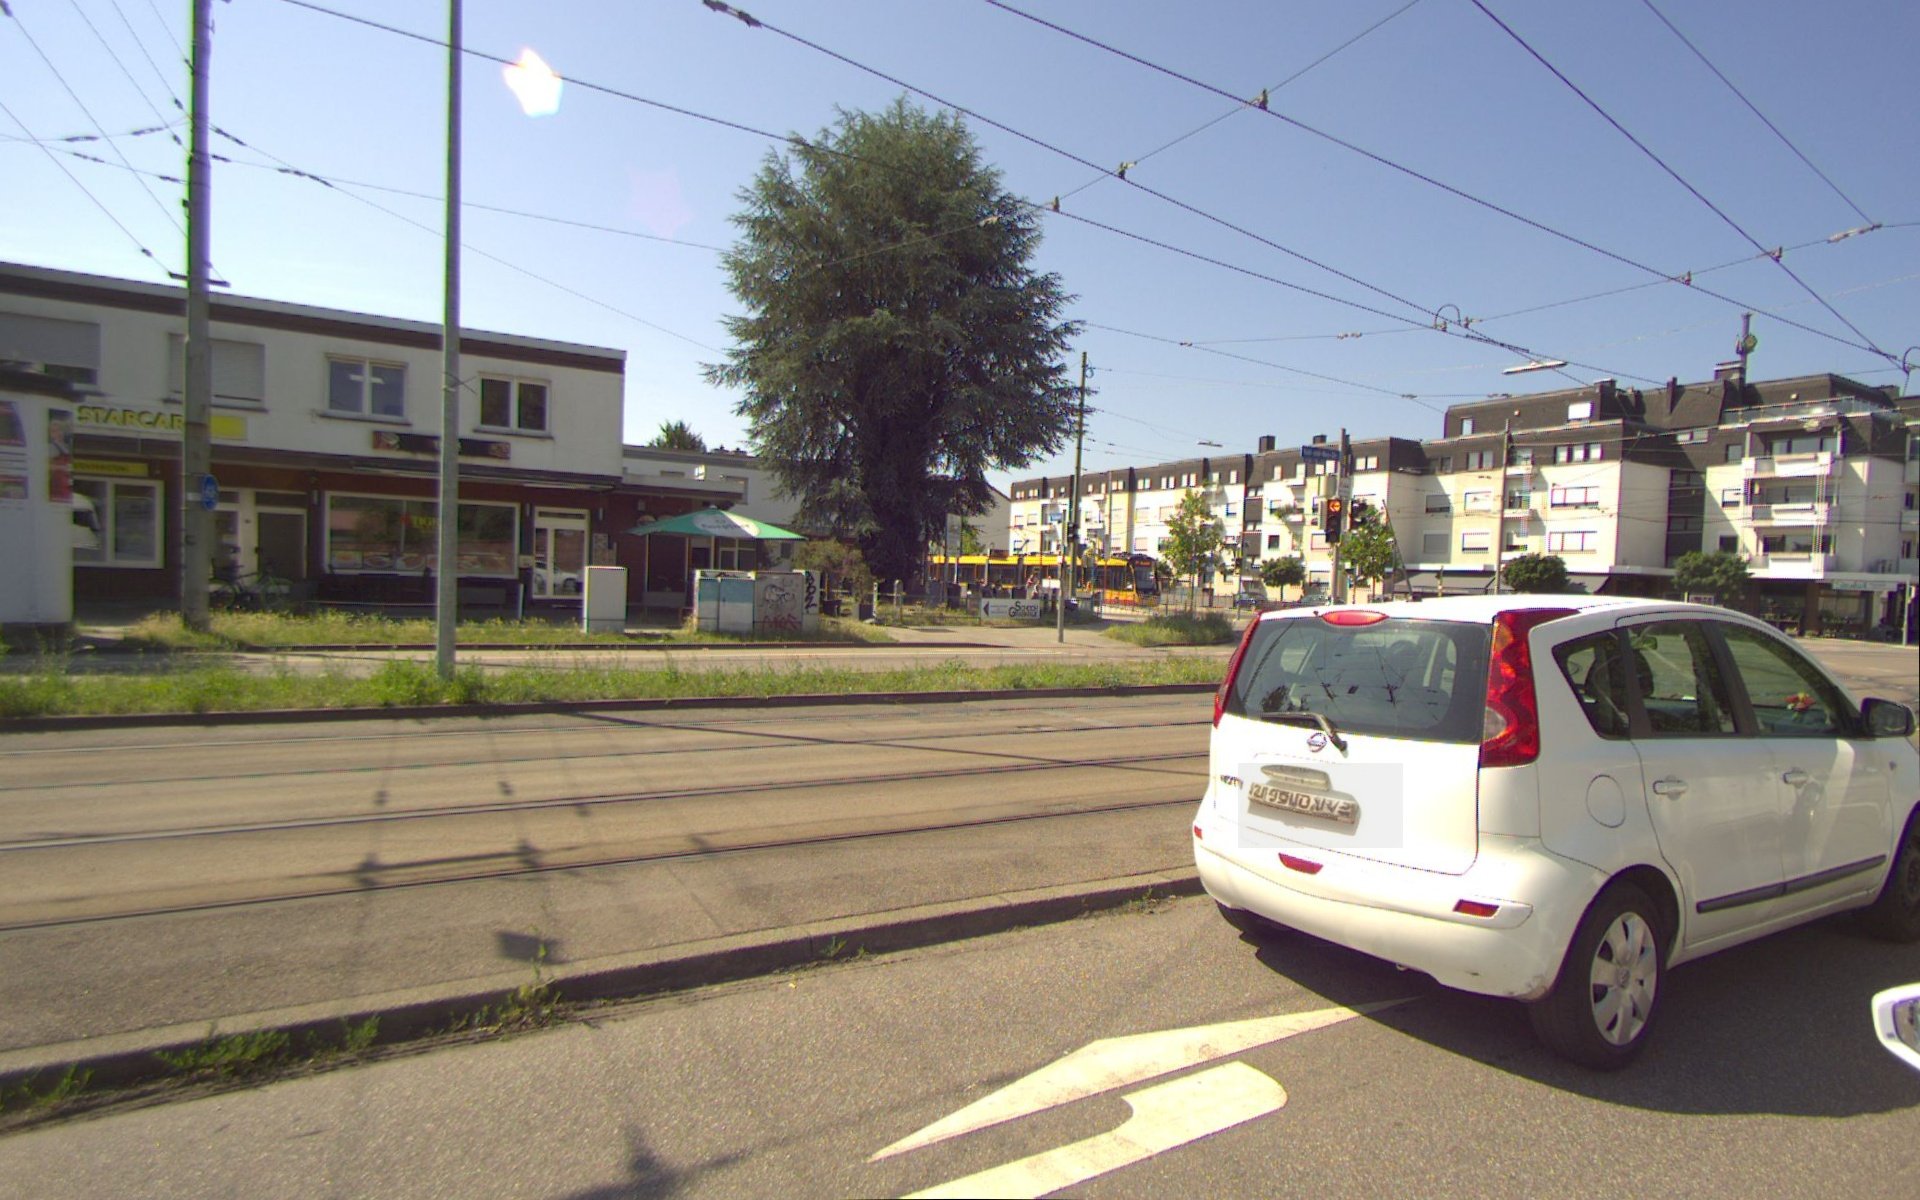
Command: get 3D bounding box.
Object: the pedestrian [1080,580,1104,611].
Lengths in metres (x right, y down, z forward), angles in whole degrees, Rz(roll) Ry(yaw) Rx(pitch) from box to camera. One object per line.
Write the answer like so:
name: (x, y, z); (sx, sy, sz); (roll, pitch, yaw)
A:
pedestrian: (8.220, -0.295, 62.456); (0.886, 1.862, 1.192); (1, 1, -30)

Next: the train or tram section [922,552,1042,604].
train or tram section: (1.420, -1.843, 79.826); (2.736, 3.707, 13.795); (1, 1, -30)

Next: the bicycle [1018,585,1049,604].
bicycle: (3.958, -0.306, 54.445); (0.530, 0.959, 2.117); (1, 1, -32)

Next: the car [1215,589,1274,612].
car: (20.629, 0.018, 72.951); (1.807, 1.520, 3.967); (1, 1, -30)

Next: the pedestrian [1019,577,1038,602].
pedestrian: (4.752, -0.721, 69.273); (0.804, 1.703, 1.085); (1, 1, -30)

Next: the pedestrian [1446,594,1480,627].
pedestrian: (28.932, 0.591, 57.774); (1.410, 1.861, 1.123); (2, 1, 9)

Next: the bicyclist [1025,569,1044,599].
bicyclist: (4.019, -0.845, 54.249); (0.625, 1.579, 0.758); (2, 0, -35)

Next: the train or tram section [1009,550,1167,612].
train or tram section: (8.229, -1.392, 67.862); (2.736, 3.707, 13.795); (1, 1, -30)

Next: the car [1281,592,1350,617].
car: (23.901, 0.286, 67.629); (1.807, 1.520, 4.151); (1, 1, -30)

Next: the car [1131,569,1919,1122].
car: (2.929, 0.738, 4.656); (4.019, 1.582, 1.757); (1, 0, -30)

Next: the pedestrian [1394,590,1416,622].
pedestrian: (25.479, 0.338, 57.554); (0.800, 1.783, 0.759); (1, 1, -23)

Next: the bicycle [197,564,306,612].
bicycle: (-15.674, -0.269, 22.271); (1.889, 0.996, 0.754); (1, 1, -30)

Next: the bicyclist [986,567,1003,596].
bicyclist: (1.959, -1.043, 57.286); (0.625, 1.596, 0.759); (1, 2, -33)

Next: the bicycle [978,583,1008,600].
bicycle: (1.852, -0.474, 57.415); (0.570, 0.902, 2.116); (1, 1, -34)

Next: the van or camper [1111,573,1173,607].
van or camper: (14.954, -0.873, 82.859); (2.349, 2.660, 4.850); (1, 1, -31)
